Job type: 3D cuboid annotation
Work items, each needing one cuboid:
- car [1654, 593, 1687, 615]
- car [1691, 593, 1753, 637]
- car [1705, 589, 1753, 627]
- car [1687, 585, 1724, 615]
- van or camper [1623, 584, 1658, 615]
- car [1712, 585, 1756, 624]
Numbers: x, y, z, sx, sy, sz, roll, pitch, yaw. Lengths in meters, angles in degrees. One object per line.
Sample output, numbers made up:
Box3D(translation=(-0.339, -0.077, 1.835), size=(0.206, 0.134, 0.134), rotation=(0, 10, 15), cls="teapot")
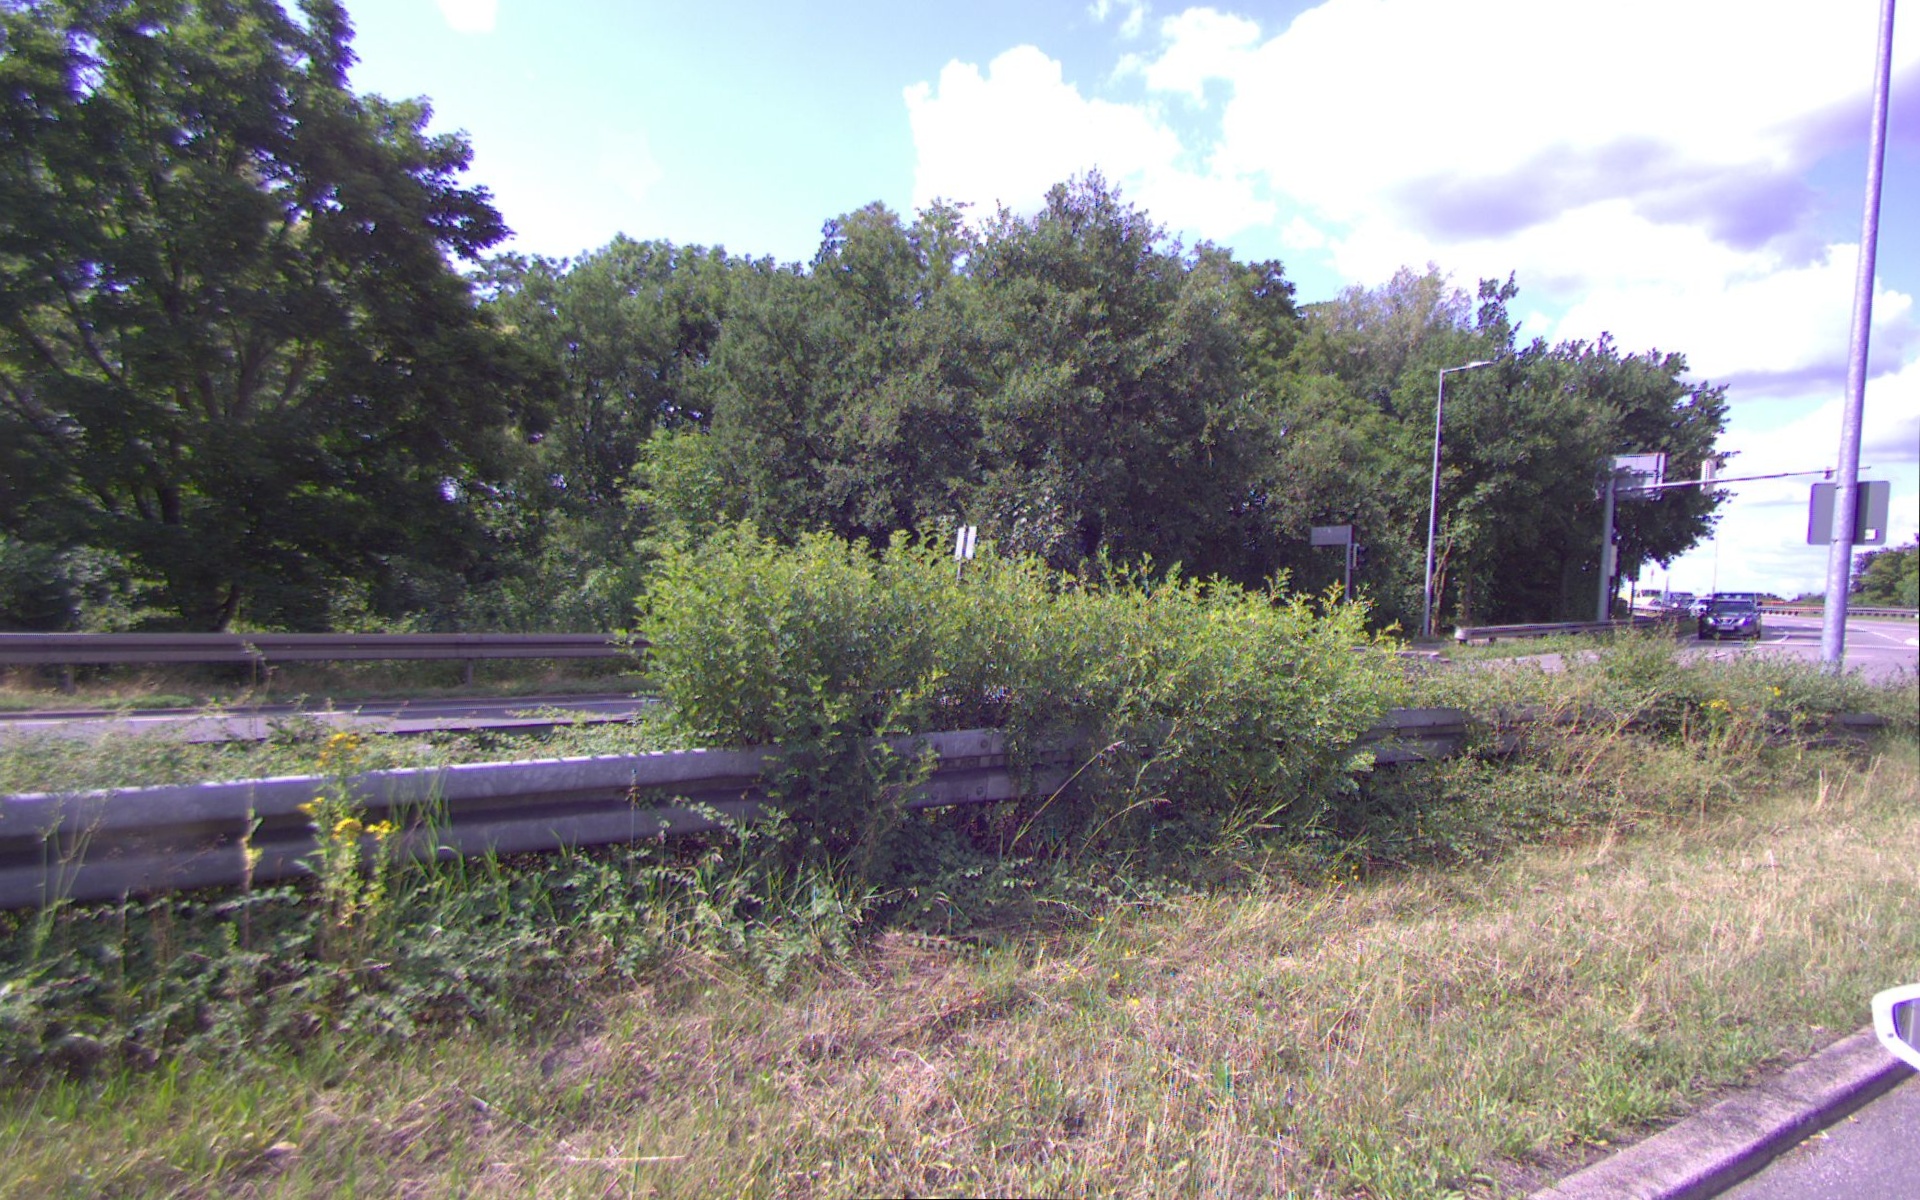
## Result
Box3D(translation=(57.963, 0.307, 81.991), size=(1.817, 1.728, 4.316), rotation=(2, 1, 32), cls="car")
Box3D(translation=(30.718, 0.633, 40.441), size=(1.816, 1.639, 3.982), rotation=(2, 0, 39), cls="car")
Box3D(translation=(39.973, 0.421, 52.157), size=(1.820, 1.826, 4.307), rotation=(2, 1, 39), cls="car")
Box3D(translation=(53.098, 0.011, 71.601), size=(1.818, 2.005, 4.314), rotation=(2, 1, 33), cls="car")
Box3D(translation=(64.701, -0.045, 95.559), size=(1.963, 2.719, 6.852), rotation=(2, 1, 28), cls="van or camper")
Box3D(translation=(44.878, 0.264, 58.292), size=(1.819, 2.128, 4.311), rotation=(2, 1, 36), cls="car")
